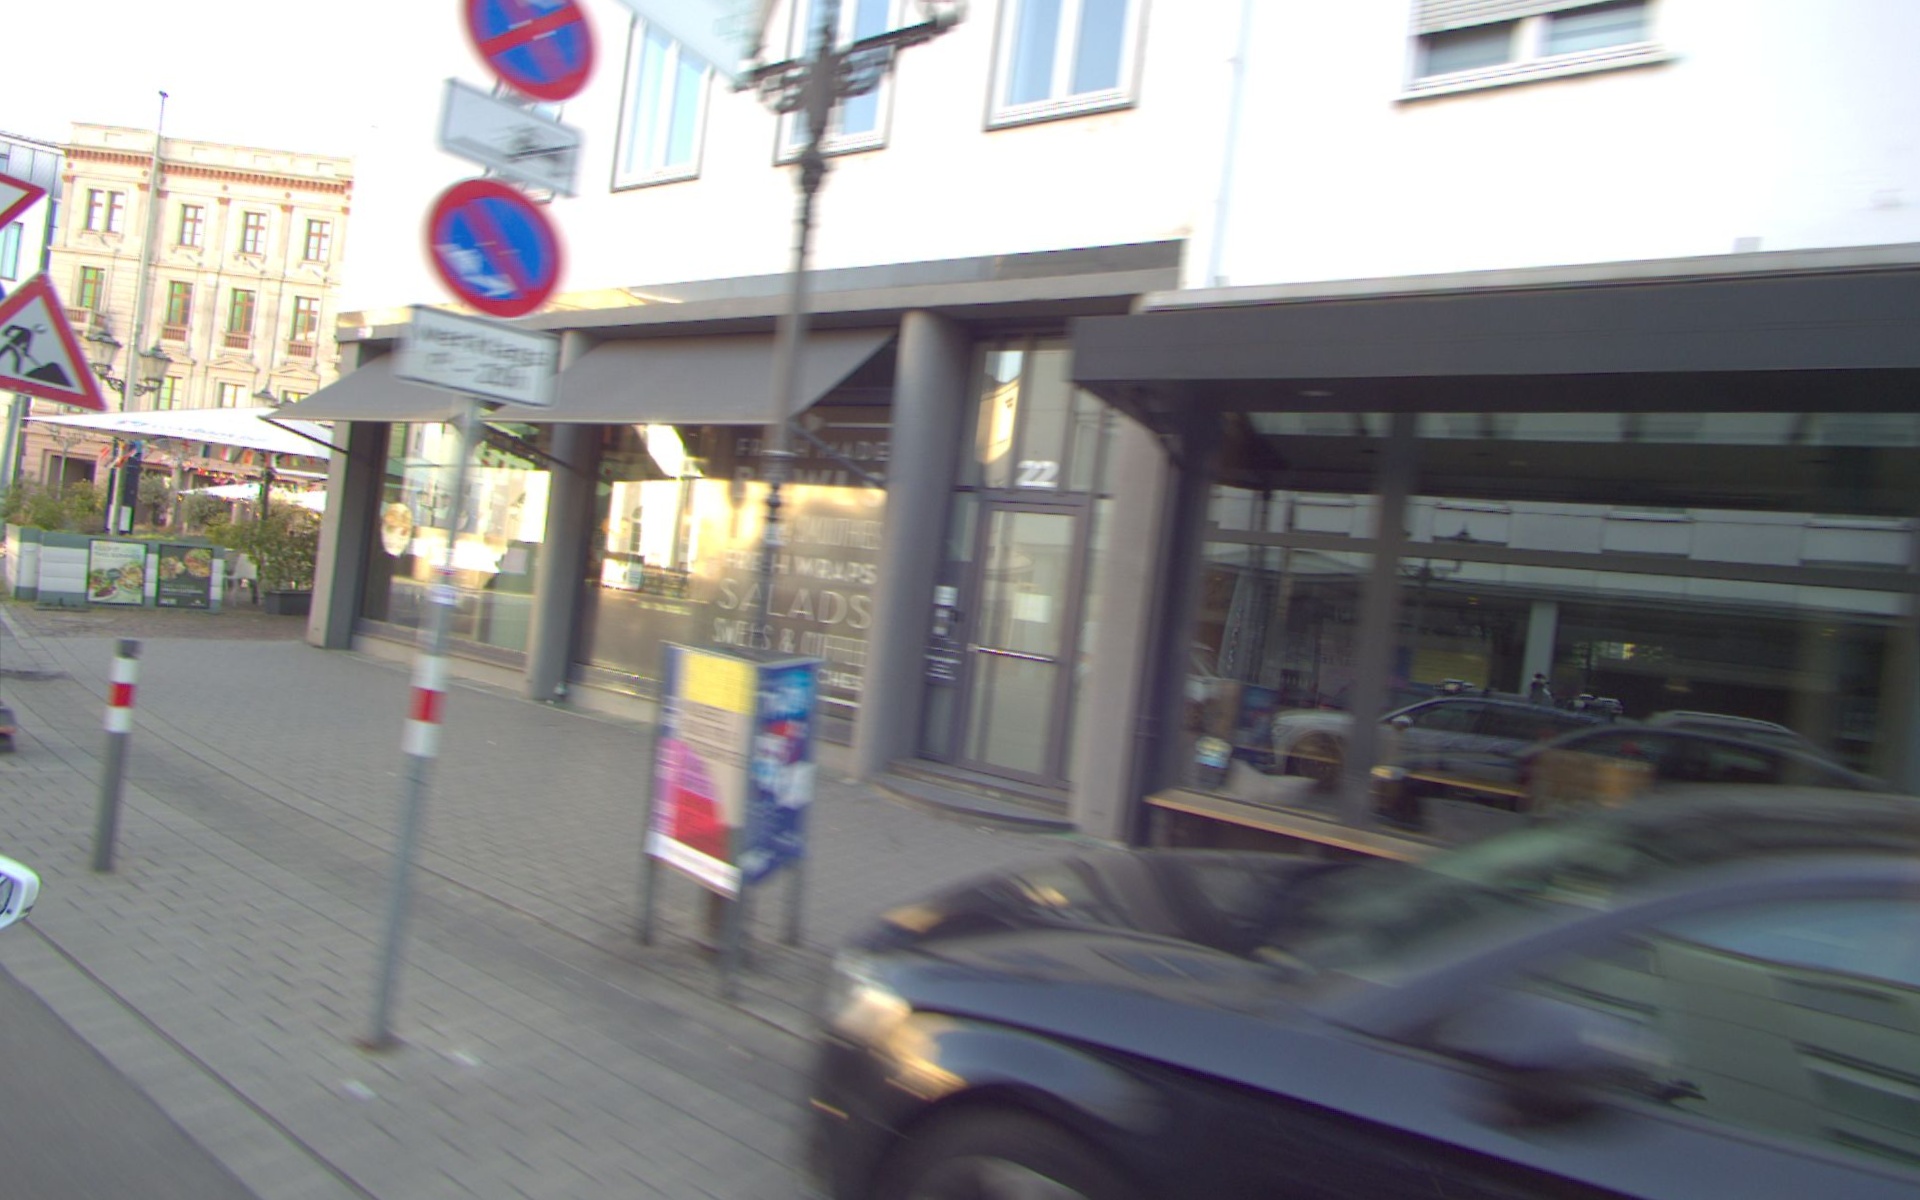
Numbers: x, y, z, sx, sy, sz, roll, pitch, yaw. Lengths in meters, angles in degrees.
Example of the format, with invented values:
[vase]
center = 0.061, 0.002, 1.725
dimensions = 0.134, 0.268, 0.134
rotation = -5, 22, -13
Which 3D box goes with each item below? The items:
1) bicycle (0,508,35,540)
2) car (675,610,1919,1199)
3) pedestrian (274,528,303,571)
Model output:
[bicycle]
center = -33.945, -2.727, 36.079
dimensions = 0.501, 1.044, 1.637
rotation = 7, 0, -22
[car]
center = 1.626, 1.032, 1.958
dimensions = 4.046, 1.482, 1.805
rotation = 7, 0, 29
[pedestrian]
center = -24.934, -1.865, 37.356
dimensions = 0.673, 1.497, 0.587
rotation = 7, 1, 35
